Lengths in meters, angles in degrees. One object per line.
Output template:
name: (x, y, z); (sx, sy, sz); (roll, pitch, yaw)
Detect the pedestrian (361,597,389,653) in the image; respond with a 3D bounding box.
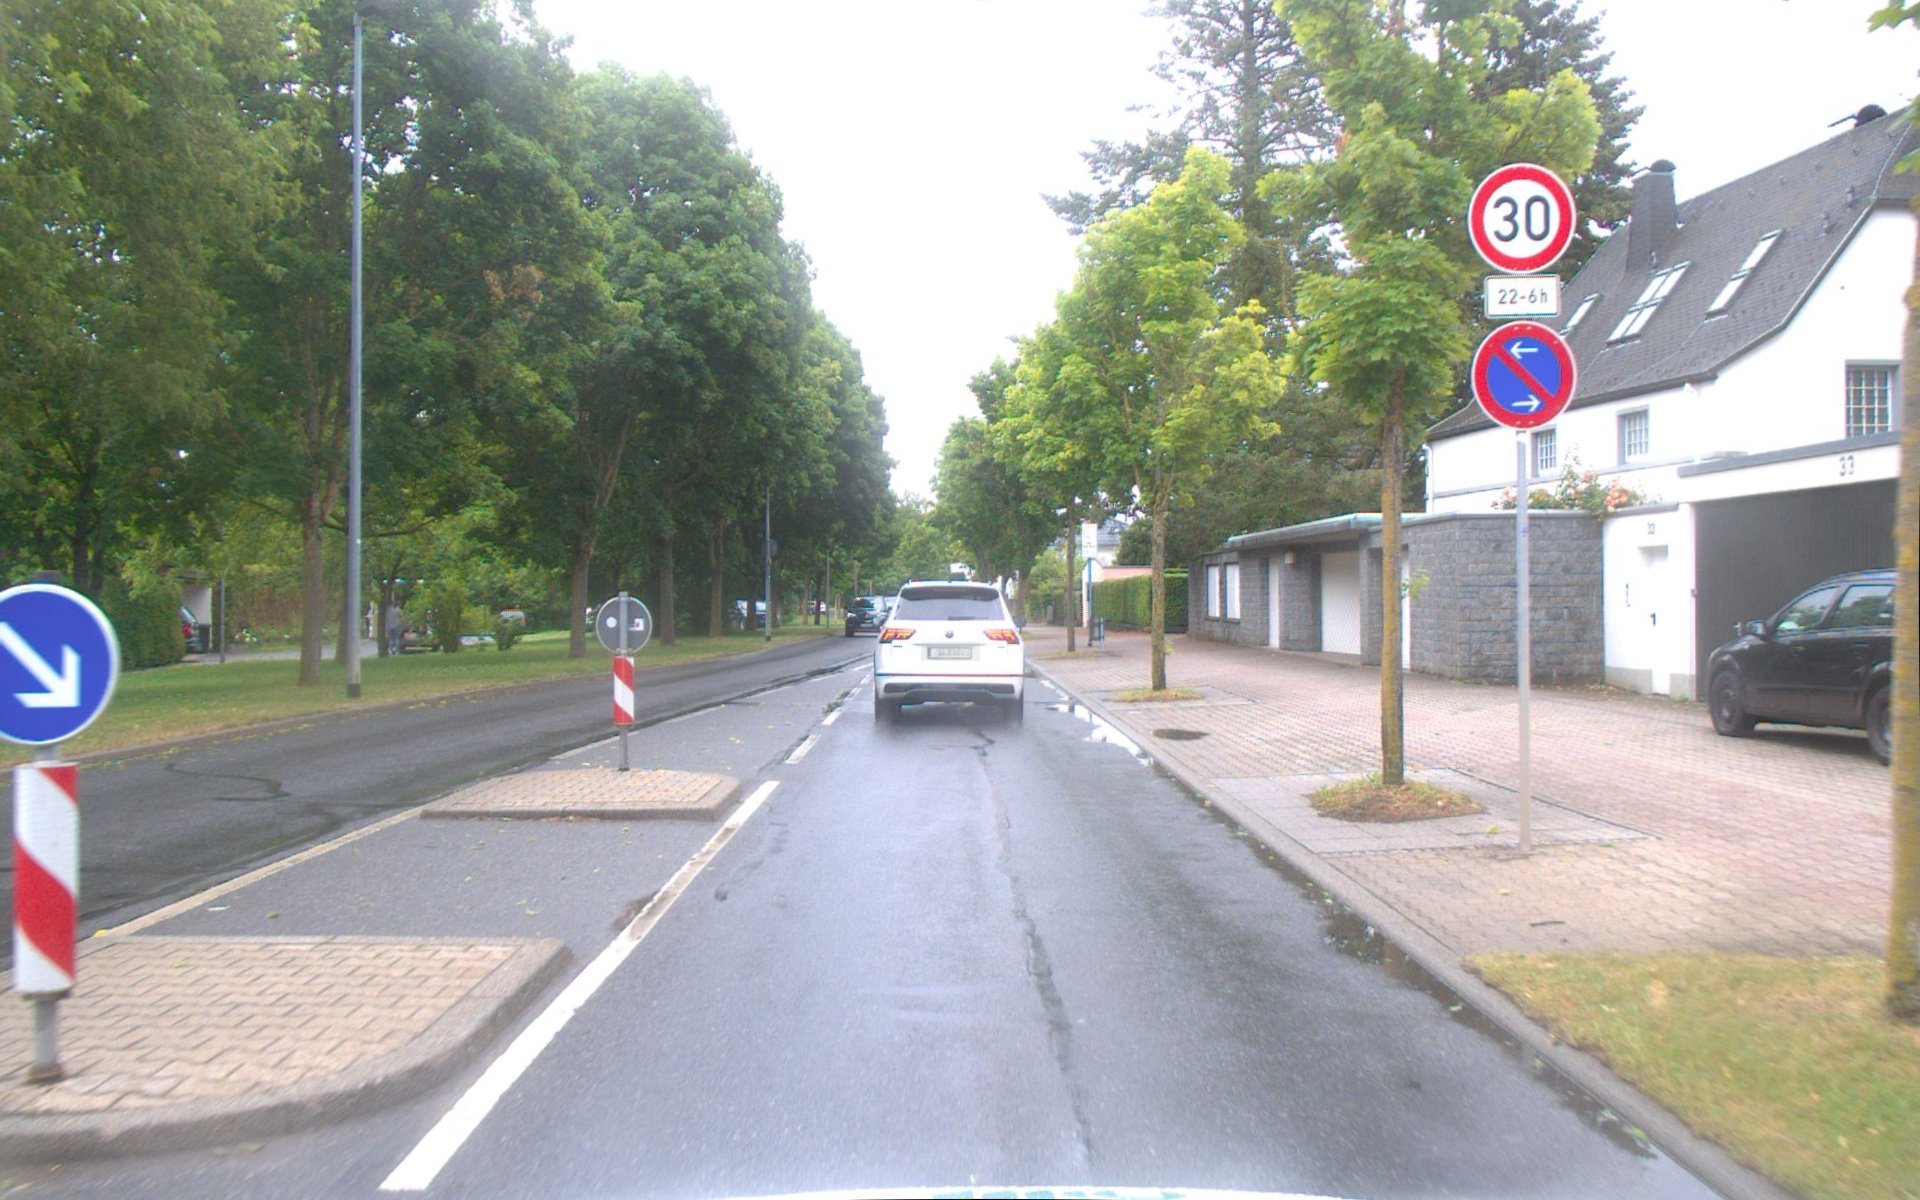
pedestrian: (-19.682, 0.836, 55.641); (0.695, 1.873, 0.823); (-1, 0, -6)

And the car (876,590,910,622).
car: (-3.596, 0.315, 89.784); (1.720, 1.677, 3.999); (0, 0, -1)

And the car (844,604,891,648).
car: (-3.726, 1.030, 66.944); (1.778, 1.677, 3.999); (0, 0, -2)

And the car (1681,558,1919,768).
car: (7.855, 0.427, 13.756); (1.735, 1.524, 4.544); (-1, 0, 0)

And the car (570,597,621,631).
car: (-17.075, 0.637, 77.350); (1.814, 1.508, 3.976); (-1, 0, -20)

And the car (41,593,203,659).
car: (-24.877, 0.753, 49.227); (3.916, 1.847, 1.875); (-1, 0, -11)

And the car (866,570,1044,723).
car: (-0.154, 0.508, 20.630); (1.957, 1.660, 3.998); (2, 0, -3)

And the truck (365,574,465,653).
truck: (-19.413, 0.454, 59.177); (2.241, 2.642, 5.865); (-1, 0, -7)

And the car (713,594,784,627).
car: (-10.337, 0.506, 80.559); (1.826, 1.508, 3.951); (-1, 0, -35)
